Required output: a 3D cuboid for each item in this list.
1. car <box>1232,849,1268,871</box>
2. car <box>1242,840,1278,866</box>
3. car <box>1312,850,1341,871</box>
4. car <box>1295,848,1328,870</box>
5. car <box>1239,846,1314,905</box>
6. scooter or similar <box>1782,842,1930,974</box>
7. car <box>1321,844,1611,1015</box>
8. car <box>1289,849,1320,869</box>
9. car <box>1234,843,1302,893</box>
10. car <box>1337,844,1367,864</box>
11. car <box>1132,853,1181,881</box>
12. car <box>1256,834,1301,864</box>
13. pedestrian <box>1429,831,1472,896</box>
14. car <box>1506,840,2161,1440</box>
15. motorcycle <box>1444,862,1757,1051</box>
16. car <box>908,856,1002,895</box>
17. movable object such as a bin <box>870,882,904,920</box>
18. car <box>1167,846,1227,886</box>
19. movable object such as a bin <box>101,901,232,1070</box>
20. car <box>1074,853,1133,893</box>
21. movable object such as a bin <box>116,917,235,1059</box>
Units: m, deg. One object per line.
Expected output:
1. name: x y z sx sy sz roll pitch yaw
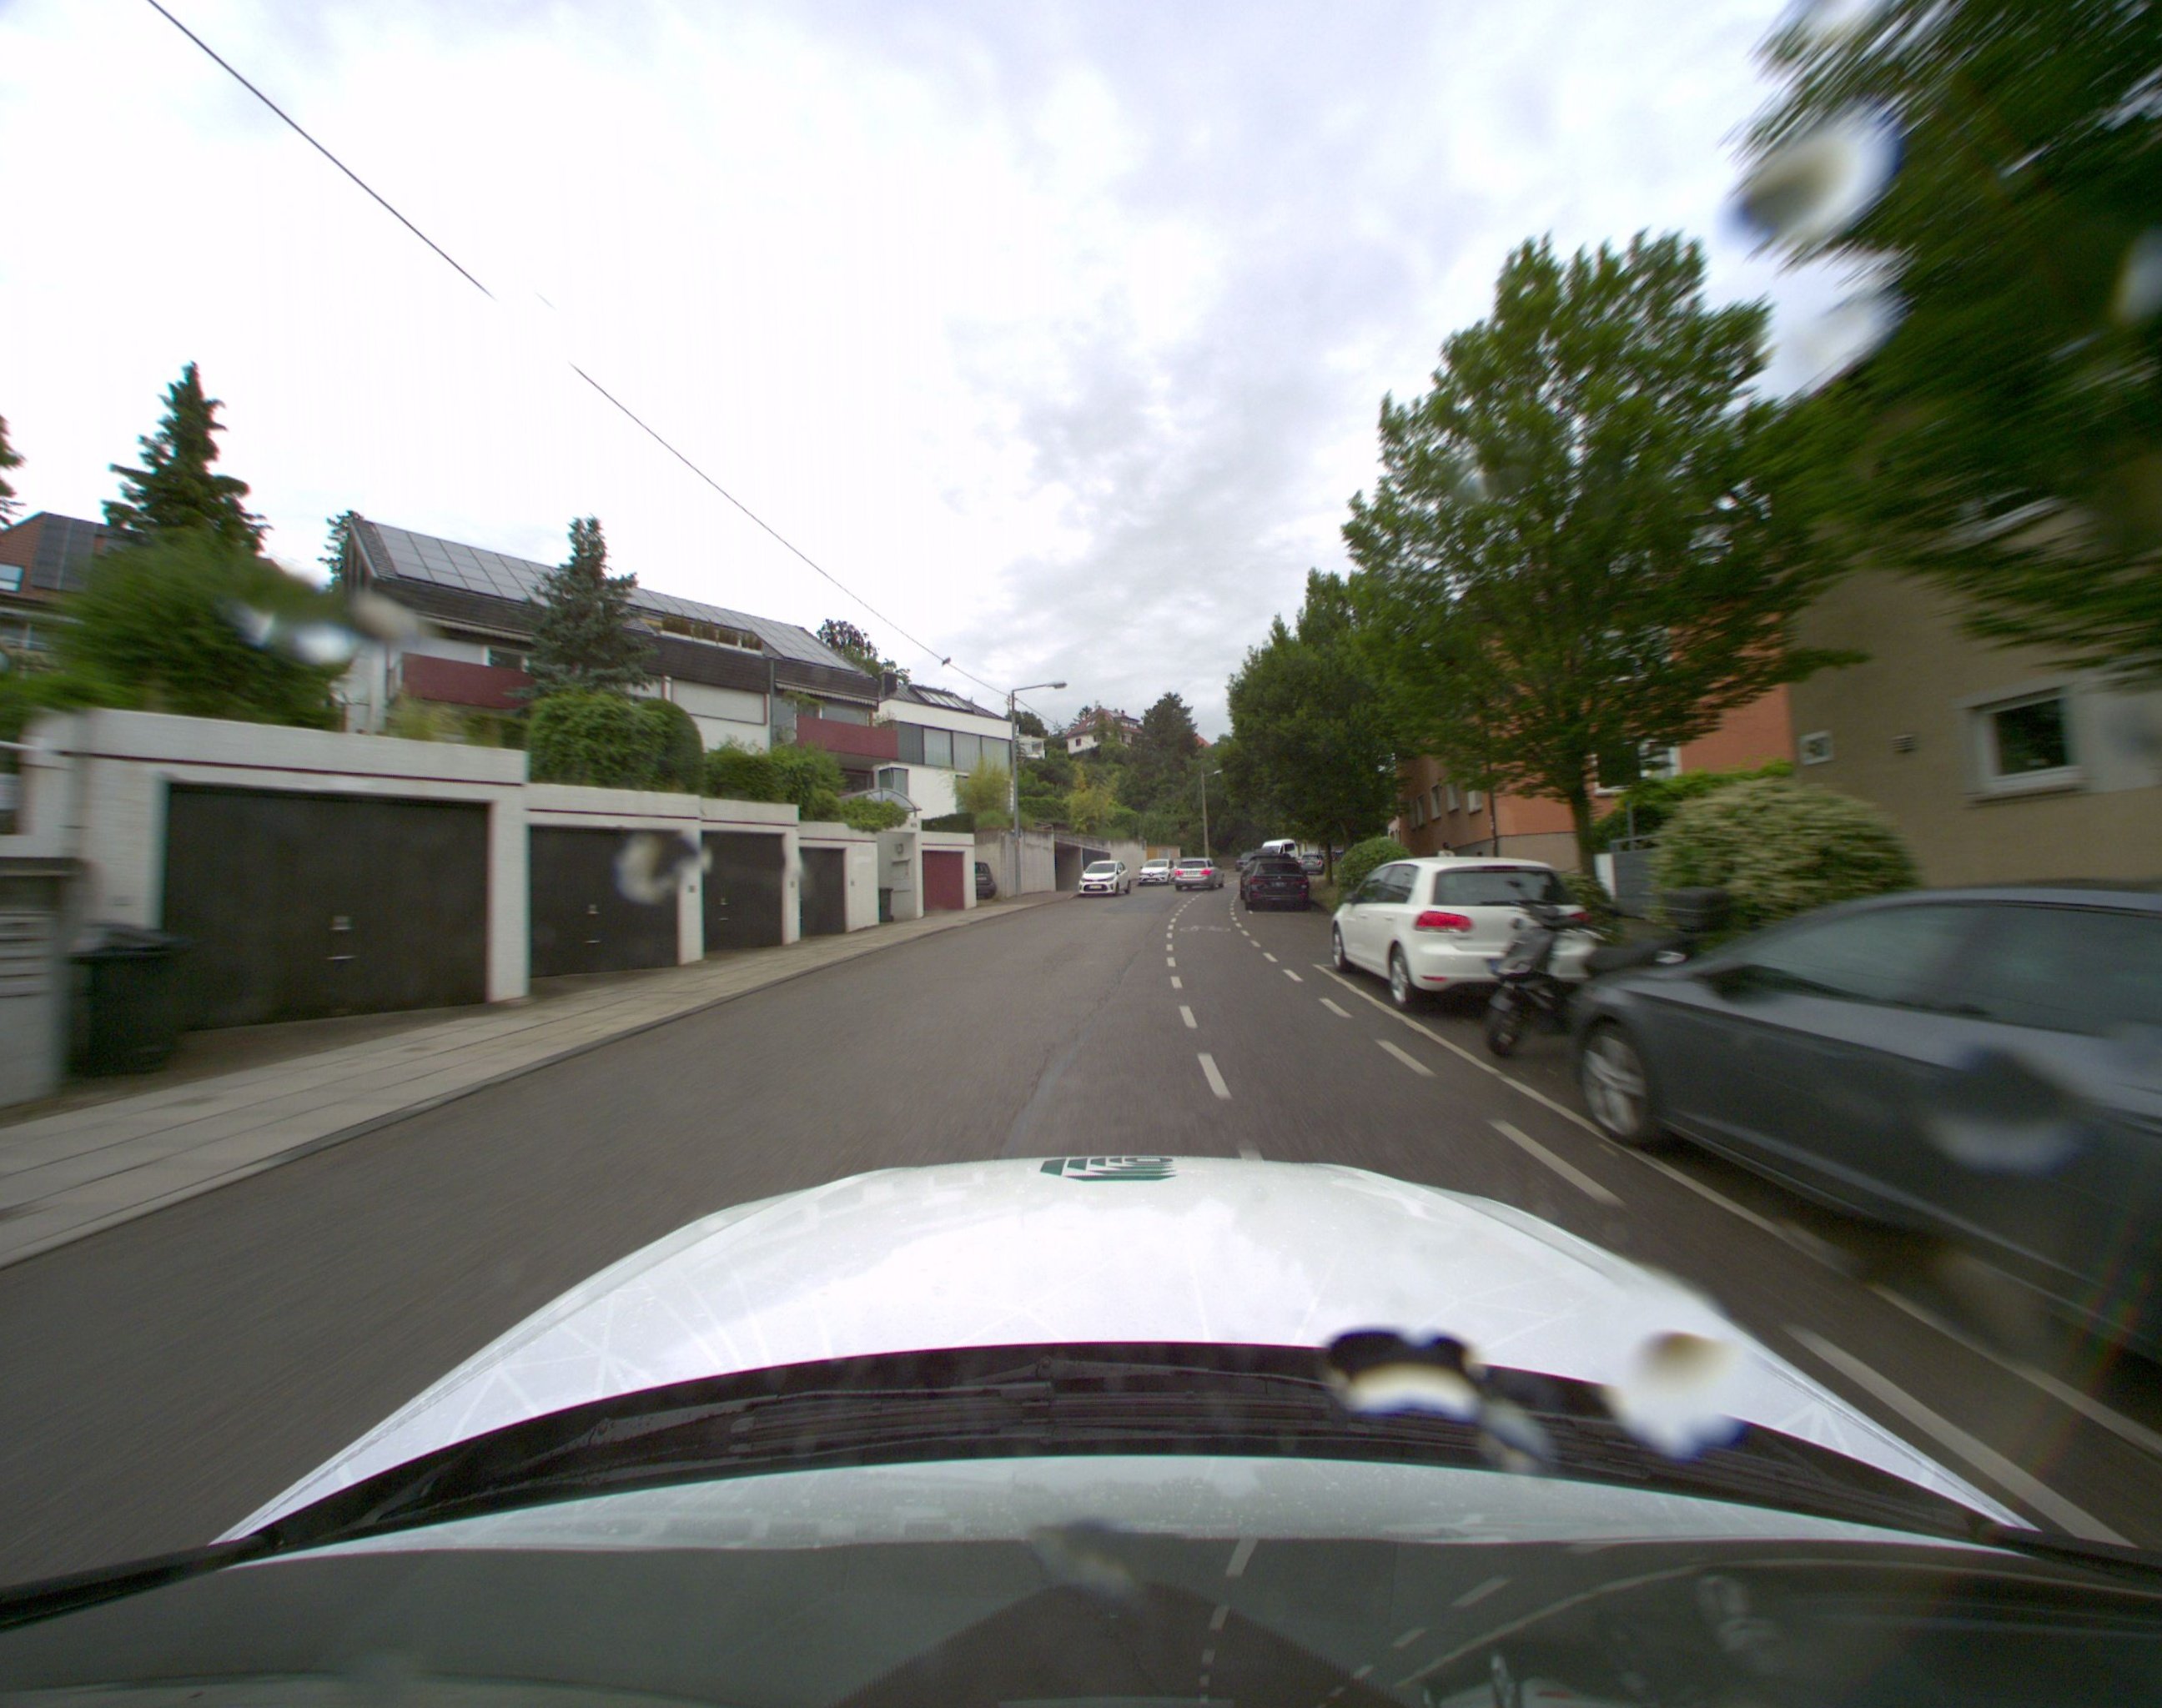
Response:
1. car: 14.434 0.465 69.326 1.878 1.691 4.573 -3 -1 26
2. car: 12.867 -0.083 58.357 1.977 1.708 4.020 -2 -1 19
3. car: 18.980 0.490 62.794 1.611 1.562 3.040 -2 0 26
4. car: 16.046 0.342 56.551 1.653 1.471 3.731 0 0 25
5. car: 5.869 0.608 24.949 1.843 1.581 4.871 -2 0 9
6. scooter or similar: 7.899 0.519 8.360 0.411 1.245 1.176 -2 0 5
7. car: 3.943 0.660 9.120 1.649 1.489 4.006 -1 0 5
8. car: 19.656 0.437 71.572 1.975 1.708 4.023 -2 -1 24
9. car: 7.153 0.478 30.740 2.038 1.656 5.259 -2 0 17
10. car: 21.879 -0.010 65.736 1.638 1.519 4.024 -1 0 27
11. car: 4.362 0.726 46.413 1.817 1.440 4.059 -3 -1 18
12. car: 18.669 -0.510 76.731 2.074 2.550 6.136 -3 0 32
13. pedestrian: 10.346 0.269 22.828 0.755 1.720 0.905 -5 -1 9
14. car: 3.596 0.676 3.079 1.870 1.416 4.472 -1 0 4
15. motorcycle: 3.907 0.737 6.240 1.907 1.330 0.787 0 0 -1
16. car: -5.205 0.845 33.395 3.882 1.478 1.778 0 0 43
17. movable object such as a bin: -5.186 1.243 21.780 0.537 0.963 0.650 -2 0 40
18. car: 5.454 0.514 37.872 2.009 1.708 4.235 -2 -1 18
19. movable object such as a bin: -6.823 0.944 6.106 0.522 1.146 0.604 -2 -2 45
20. car: 1.048 0.774 35.048 1.615 1.516 3.848 -3 0 15
21. movable object such as a bin: -7.243 1.039 6.540 0.602 0.992 0.604 0 0 45
